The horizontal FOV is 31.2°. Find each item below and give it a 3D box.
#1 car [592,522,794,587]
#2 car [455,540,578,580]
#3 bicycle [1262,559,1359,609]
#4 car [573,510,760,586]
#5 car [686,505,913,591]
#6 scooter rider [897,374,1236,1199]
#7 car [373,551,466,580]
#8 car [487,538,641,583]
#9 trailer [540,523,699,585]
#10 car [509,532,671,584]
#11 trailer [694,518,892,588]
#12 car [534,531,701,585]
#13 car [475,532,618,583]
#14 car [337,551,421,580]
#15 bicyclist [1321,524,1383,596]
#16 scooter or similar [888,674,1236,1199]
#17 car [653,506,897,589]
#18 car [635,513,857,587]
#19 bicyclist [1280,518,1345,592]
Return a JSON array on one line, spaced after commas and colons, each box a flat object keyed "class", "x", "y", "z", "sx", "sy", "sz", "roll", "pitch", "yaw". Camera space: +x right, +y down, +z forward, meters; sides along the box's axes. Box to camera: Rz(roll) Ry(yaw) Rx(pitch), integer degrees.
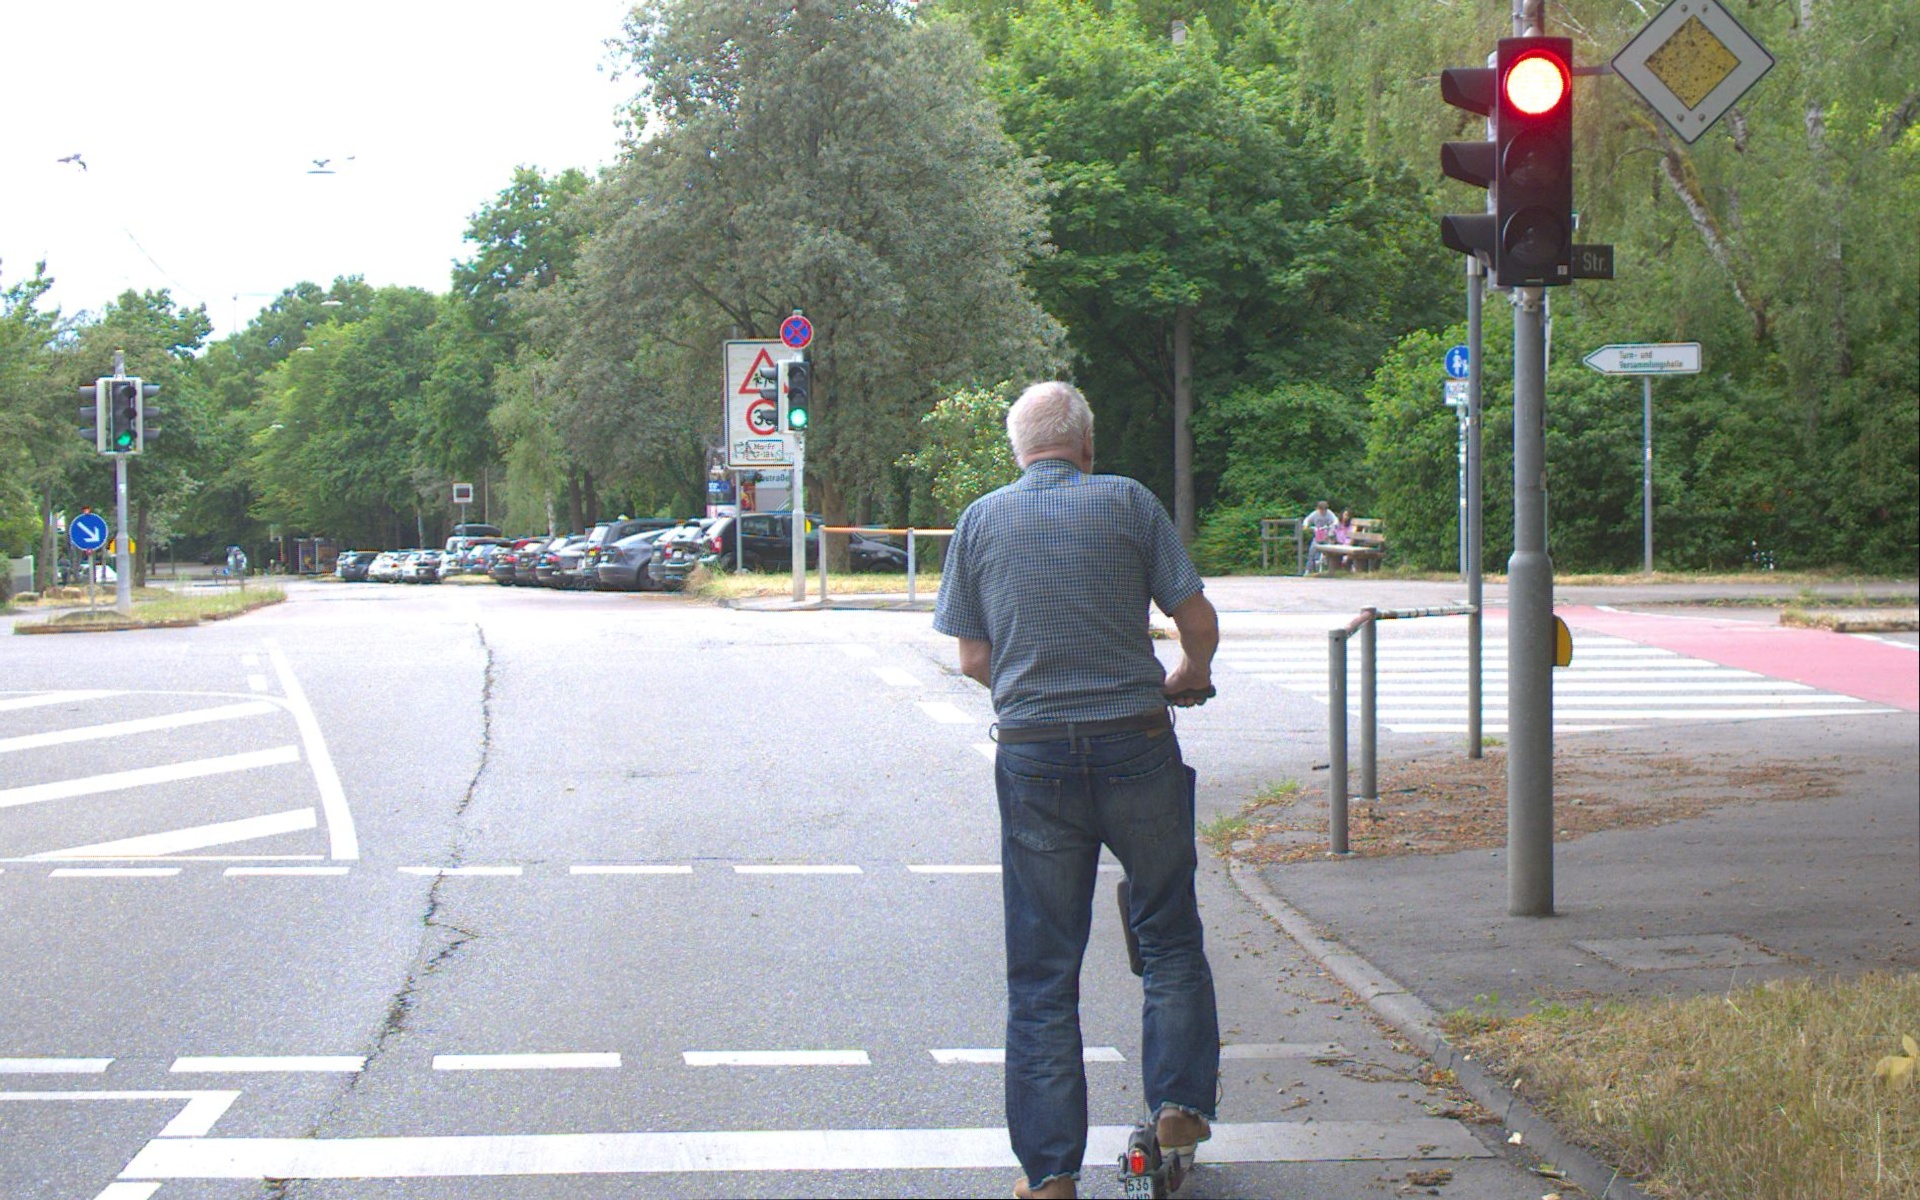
[{"class": "car", "x": -5.962, "y": -1.020, "z": 76.808, "sx": 4.158, "sy": 1.402, "sz": 1.698, "roll": -1, "pitch": 0, "yaw": -22}, {"class": "car", "x": -15.759, "y": -1.410, "z": 122.146, "sx": 3.964, "sy": 1.401, "sz": 1.757, "roll": 0, "pitch": 0, "yaw": -26}, {"class": "bicycle", "x": 5.704, "y": -0.267, "z": 55.878, "sx": 0.641, "sy": 0.756, "sz": 1.676, "roll": 5, "pitch": 4, "yaw": 43}, {"class": "car", "x": -6.781, "y": -1.202, "z": 79.382, "sx": 3.985, "sy": 1.719, "sz": 1.681, "roll": -1, "pitch": 0, "yaw": -21}, {"class": "car", "x": -2.806, "y": -0.915, "z": 59.882, "sx": 3.714, "sy": 1.471, "sz": 1.577, "roll": -1, "pitch": 1, "yaw": -14}, {"class": "scooter rider", "x": 0.261, "y": 0.381, "z": 7.547, "sx": 0.681, "sy": 1.724, "sz": 1.196, "roll": 0, "pitch": 3, "yaw": 4}, {"class": "car", "x": -24.981, "y": -1.596, "z": 158.879, "sx": 3.885, "sy": 1.305, "sz": 1.743, "roll": -1, "pitch": 0, "yaw": -36}, {"class": "car", "x": -12.035, "y": -1.208, "z": 104.479, "sx": 4.312, "sy": 1.336, "sz": 1.734, "roll": -1, "pitch": 0, "yaw": -25}, {"class": "trailer", "x": -8.591, "y": -1.157, "z": 86.768, "sx": 3.687, "sy": 1.530, "sz": 1.646, "roll": 0, "pitch": 1, "yaw": -23}, {"class": "car", "x": -10.658, "y": -1.219, "z": 99.186, "sx": 4.343, "sy": 1.440, "sz": 1.634, "roll": -1, "pitch": 1, "yaw": -26}, {"class": "trailer", "x": -3.184, "y": -0.894, "z": 65.370, "sx": 3.401, "sy": 1.262, "sz": 1.617, "roll": -1, "pitch": 0, "yaw": -21}, {"class": "car", "x": -8.874, "y": -1.085, "z": 88.994, "sx": 4.036, "sy": 1.323, "sz": 1.560, "roll": -1, "pitch": 0, "yaw": -20}, {"class": "car", "x": -12.876, "y": -1.342, "z": 107.173, "sx": 4.072, "sy": 1.510, "sz": 1.733, "roll": -1, "pitch": 1, "yaw": -34}, {"class": "car", "x": -29.859, "y": -1.787, "z": 176.626, "sx": 3.884, "sy": 1.424, "sz": 1.743, "roll": -1, "pitch": 0, "yaw": -31}, {"class": "bicyclist", "x": 6.534, "y": -0.664, "z": 57.231, "sx": 0.519, "sy": 1.183, "sz": 0.965, "roll": -2, "pitch": 0, "yaw": 44}, {"class": "scooter or similar", "x": 0.255, "y": 0.777, "z": 7.485, "sx": 0.681, "sy": 1.135, "sz": 1.460, "roll": 0, "pitch": 3, "yaw": 4}, {"class": "car", "x": -3.361, "y": -0.954, "z": 62.425, "sx": 4.134, "sy": 1.471, "sz": 1.577, "roll": -1, "pitch": 0, "yaw": -22}, {"class": "car", "x": -4.359, "y": -1.026, "z": 70.127, "sx": 4.218, "sy": 1.459, "sz": 1.635, "roll": -1, "pitch": 1, "yaw": -20}, {"class": "bicyclist", "x": 5.729, "y": -0.732, "z": 55.866, "sx": 0.641, "sy": 1.158, "sz": 0.801, "roll": 5, "pitch": 4, "yaw": 43}]
